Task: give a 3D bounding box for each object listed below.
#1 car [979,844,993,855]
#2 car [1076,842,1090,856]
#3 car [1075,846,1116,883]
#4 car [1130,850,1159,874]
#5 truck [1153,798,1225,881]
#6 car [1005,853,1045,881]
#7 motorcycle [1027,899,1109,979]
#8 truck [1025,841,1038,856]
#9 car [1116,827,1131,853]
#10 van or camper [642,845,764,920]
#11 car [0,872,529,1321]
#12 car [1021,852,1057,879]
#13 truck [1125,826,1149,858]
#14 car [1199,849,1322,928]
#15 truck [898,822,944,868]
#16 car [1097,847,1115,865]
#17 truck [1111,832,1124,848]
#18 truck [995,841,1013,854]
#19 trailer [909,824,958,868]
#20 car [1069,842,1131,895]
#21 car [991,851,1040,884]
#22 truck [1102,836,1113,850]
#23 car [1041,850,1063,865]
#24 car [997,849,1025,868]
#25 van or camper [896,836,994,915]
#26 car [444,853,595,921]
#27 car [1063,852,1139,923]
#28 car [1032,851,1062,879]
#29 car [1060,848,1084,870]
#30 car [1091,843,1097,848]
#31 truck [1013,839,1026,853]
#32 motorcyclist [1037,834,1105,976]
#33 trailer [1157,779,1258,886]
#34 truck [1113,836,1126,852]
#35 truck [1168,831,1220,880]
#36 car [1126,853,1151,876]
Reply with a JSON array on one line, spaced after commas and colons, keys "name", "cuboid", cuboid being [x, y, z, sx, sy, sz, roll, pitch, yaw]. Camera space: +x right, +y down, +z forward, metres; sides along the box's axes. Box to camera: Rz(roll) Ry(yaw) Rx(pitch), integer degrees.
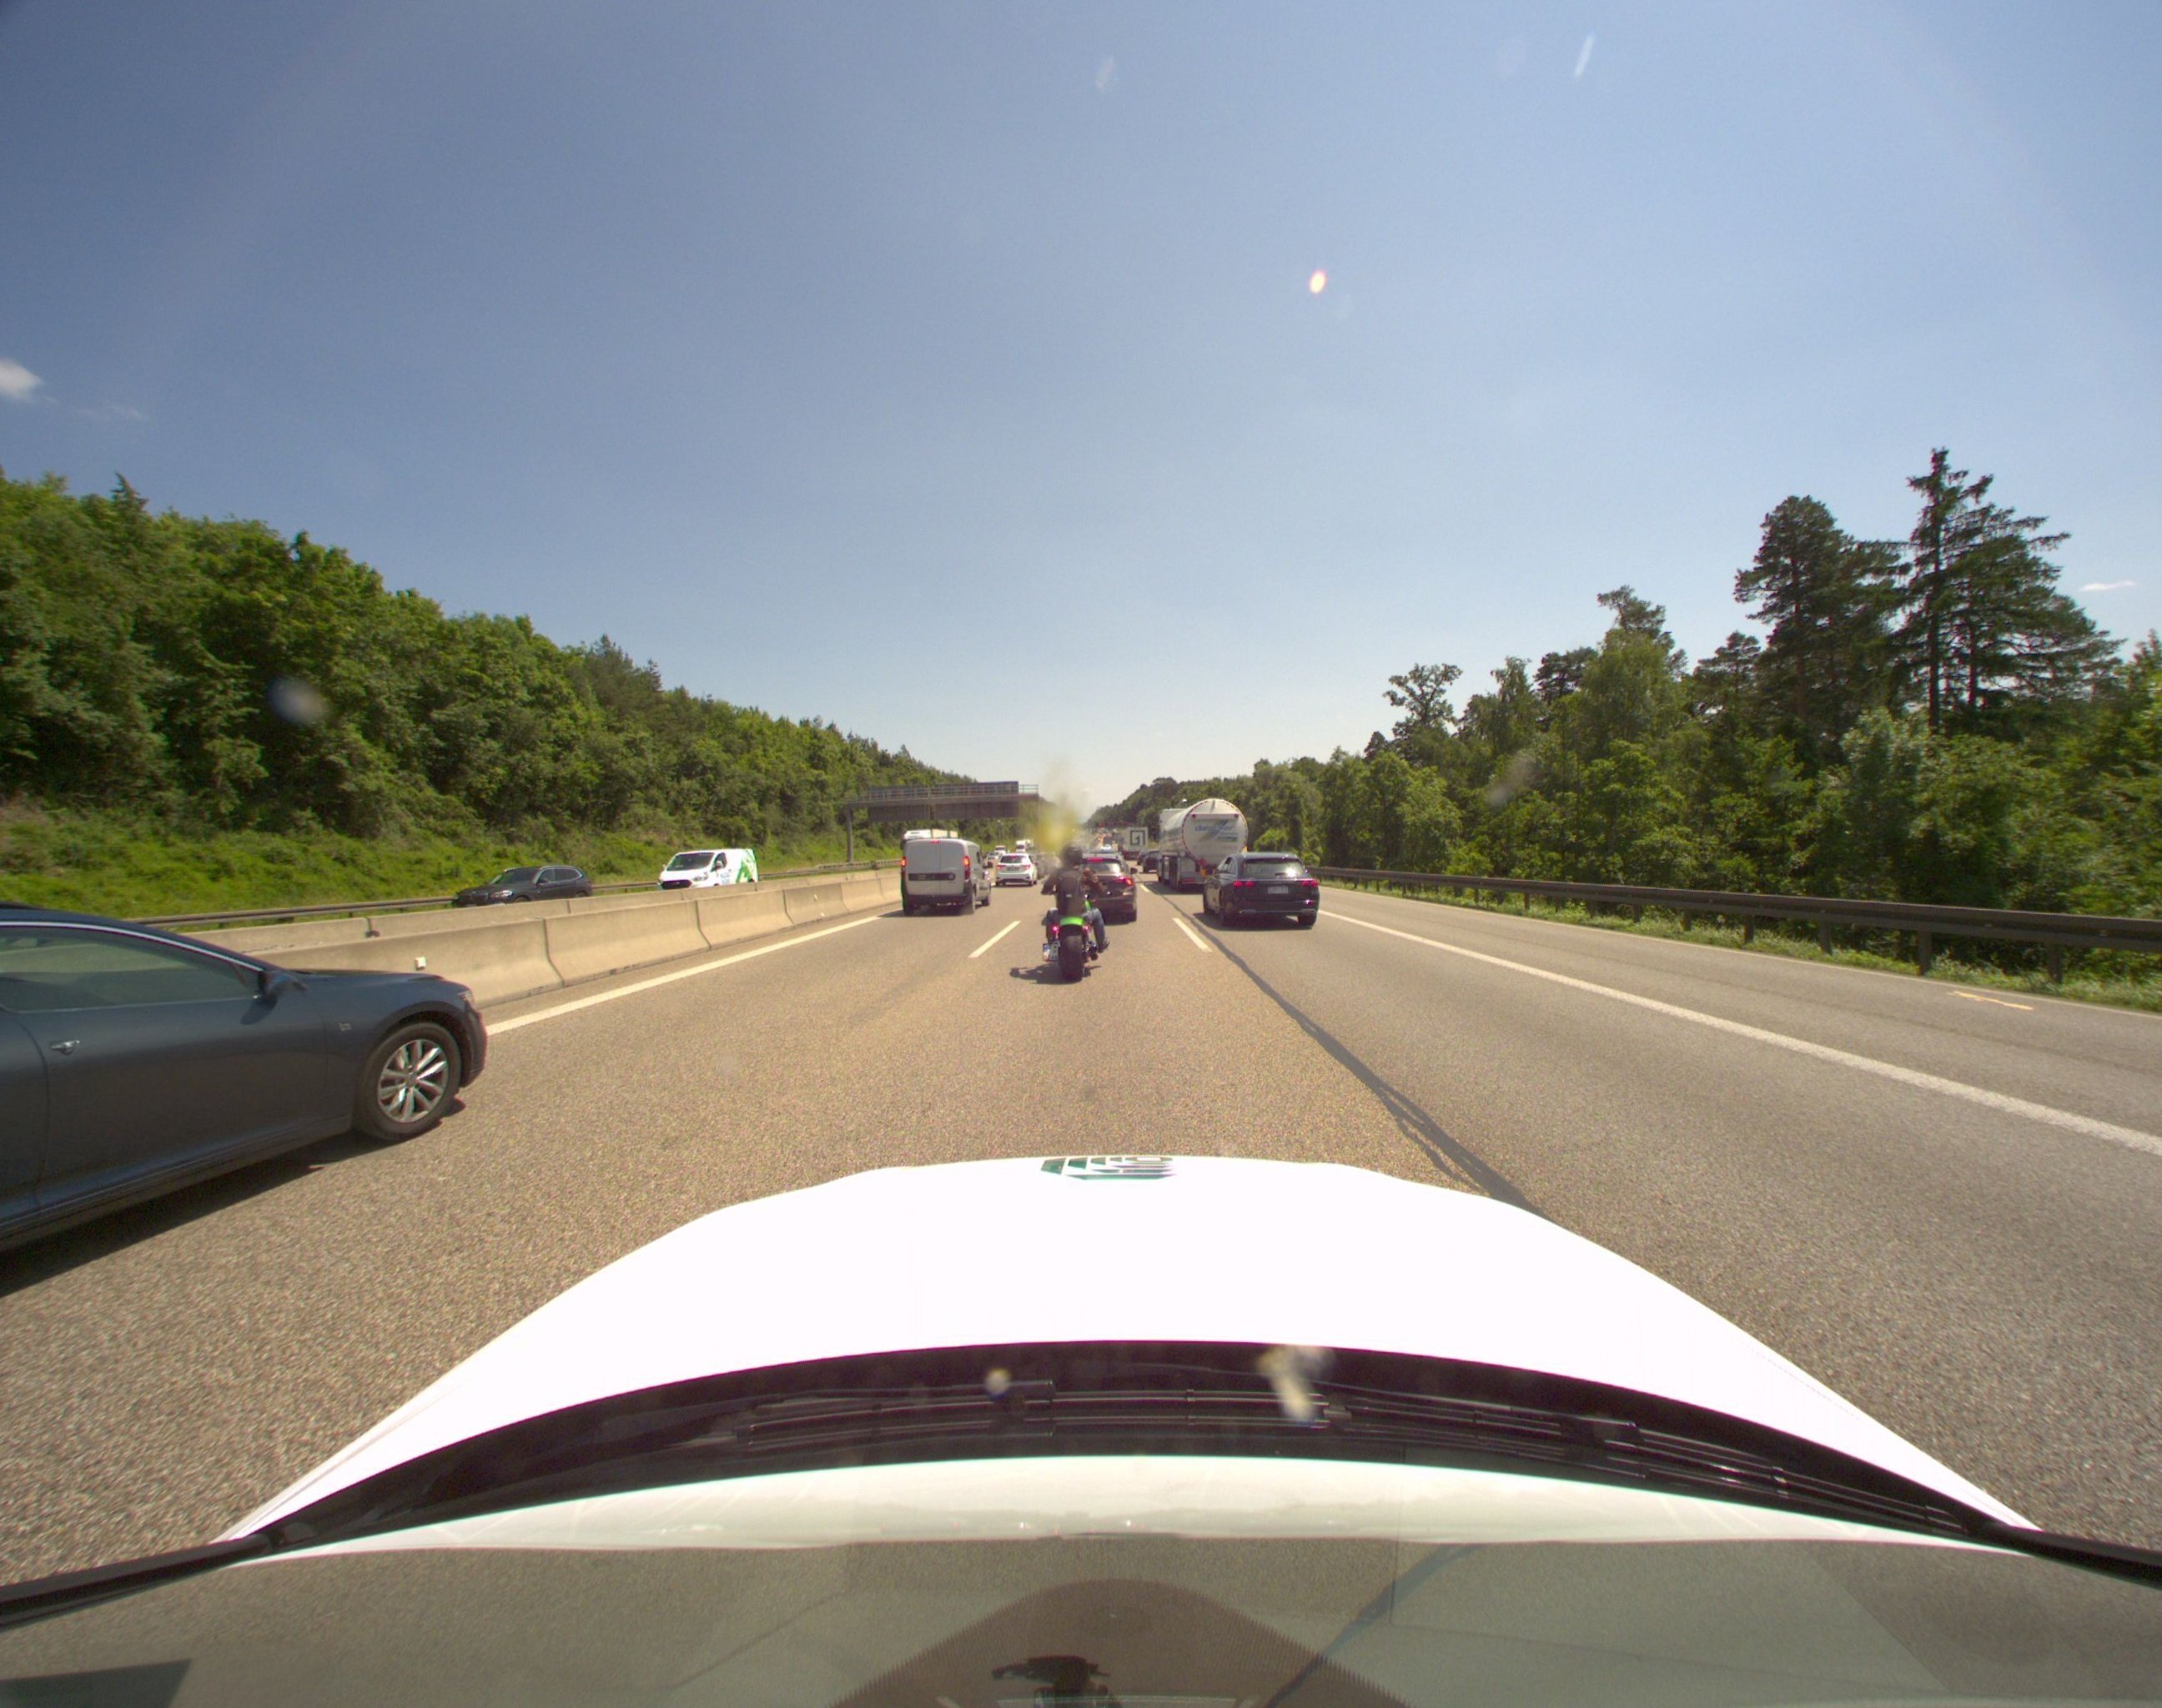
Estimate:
[{"name": "car", "cuboid": [-17.166, -0.802, 147.306, 1.986, 2.014, 4.001, -1, -1, 2]}, {"name": "car", "cuboid": [0.292, -0.789, 123.885, 1.986, 2.013, 4.002, -2, 0, 2]}, {"name": "car", "cuboid": [0.739, 0.543, 41.304, 1.986, 1.775, 4.000, -1, -1, 1]}, {"name": "car", "cuboid": [4.296, 0.539, 55.165, 1.769, 1.527, 4.002, -1, -1, 2]}, {"name": "truck", "cuboid": [5.078, -0.605, 39.510, 2.817, 3.671, 6.432, -1, -1, 2]}, {"name": "car", "cuboid": [-3.087, 0.732, 45.649, 1.987, 1.464, 3.999, -1, -1, 0]}, {"name": "motorcycle", "cuboid": [-0.111, 1.042, 10.534, 0.932, 0.793, 2.300, -1, 0, 2]}, {"name": "truck", "cuboid": [-13.467, -1.502, 220.415, 2.682, 3.989, 7.993, -1, -1, 2]}, {"name": "car", "cuboid": [6.933, -2.178, 133.038, 2.159, 3.892, 9.333, -1, -1, 2]}, {"name": "van or camper", "cuboid": [-14.072, 1.017, 30.683, 1.986, 2.385, 4.811, -6, -1, 2]}, {"name": "car", "cuboid": [-4.541, 0.843, 2.879, 1.867, 1.450, 4.680, -1, 0, 2]}, {"name": "car", "cuboid": [-2.760, 0.743, 53.962, 1.986, 1.684, 4.332, -1, -1, 2]}, {"name": "truck", "cuboid": [7.035, -1.406, 101.869, 2.840, 3.821, 7.196, -1, -1, 5]}, {"name": "car", "cuboid": [3.697, 0.674, 17.575, 1.785, 1.458, 4.626, -1, -1, 2]}, {"name": "truck", "cuboid": [-16.067, -0.818, 82.320, 2.937, 4.481, 7.522, -1, -1, 2]}, {"name": "car", "cuboid": [2.872, 0.190, 93.446, 1.986, 2.013, 4.002, -1, 0, 2]}, {"name": "truck", "cuboid": [7.946, -2.990, 177.243, 2.686, 3.405, 10.483, -2, 0, 2]}, {"name": "truck", "cuboid": [-13.442, -1.093, 142.927, 2.343, 2.014, 6.492, -1, -1, 1]}, {"name": "trailer", "cuboid": [-15.871, -0.731, 88.488, 2.938, 4.481, 10.820, -1, -1, 2]}, {"name": "car", "cuboid": [0.654, 0.506, 28.493, 1.986, 1.711, 4.000, -1, -1, 1]}, {"name": "car", "cuboid": [-2.944, 0.602, 37.463, 1.769, 1.411, 4.002, -1, -1, 2]}, {"name": "truck", "cuboid": [6.843, -2.831, 211.432, 2.686, 3.405, 10.483, -2, 0, 2]}, {"name": "car", "cuboid": [-2.803, 0.359, 79.088, 1.757, 1.442, 4.002, -1, -1, 2]}, {"name": "car", "cuboid": [-5.742, 0.353, 67.066, 1.818, 1.494, 4.001, -1, 0, 1]}, {"name": "van or camper", "cuboid": [-3.491, 0.481, 21.730, 1.847, 1.880, 4.560, 0, 1, 0]}, {"name": "car", "cuboid": [-18.212, 1.003, 26.713, 2.110, 2.014, 4.470, 0, -1, -5]}, {"name": "car", "cuboid": [0.479, 0.679, 18.709, 1.535, 1.450, 4.002, -1, 0, 2]}, {"name": "car", "cuboid": [-2.556, 0.807, 61.784, 1.986, 2.014, 4.001, -1, -1, 1]}, {"name": "car", "cuboid": [-0.780, 0.461, 74.813, 1.986, 2.014, 4.001, -1, -1, 2]}, {"name": "car", "cuboid": [3.806, -2.432, 237.473, 1.763, 1.556, 4.002, -2, 0, 2]}, {"name": "truck", "cuboid": [-13.138, -1.722, 174.715, 2.170, 2.884, 6.744, -1, -1, 1]}, {"name": "motorcyclist", "cuboid": [-0.103, 0.615, 10.218, 0.796, 1.688, 1.017, -1, -1, 2]}, {"name": "trailer", "cuboid": [4.873, -0.687, 33.494, 2.817, 3.671, 10.736, -1, -1, 2]}, {"name": "truck", "cuboid": [5.282, -1.355, 112.104, 1.584, 2.111, 3.755, -1, -1, 4]}, {"name": "truck", "cuboid": [7.314, 0.078, 53.721, 2.380, 2.979, 8.254, -1, 0, 1]}, {"name": "car", "cuboid": [5.199, 0.952, 74.232, 1.987, 2.014, 4.000, -1, -1, 0]}]
